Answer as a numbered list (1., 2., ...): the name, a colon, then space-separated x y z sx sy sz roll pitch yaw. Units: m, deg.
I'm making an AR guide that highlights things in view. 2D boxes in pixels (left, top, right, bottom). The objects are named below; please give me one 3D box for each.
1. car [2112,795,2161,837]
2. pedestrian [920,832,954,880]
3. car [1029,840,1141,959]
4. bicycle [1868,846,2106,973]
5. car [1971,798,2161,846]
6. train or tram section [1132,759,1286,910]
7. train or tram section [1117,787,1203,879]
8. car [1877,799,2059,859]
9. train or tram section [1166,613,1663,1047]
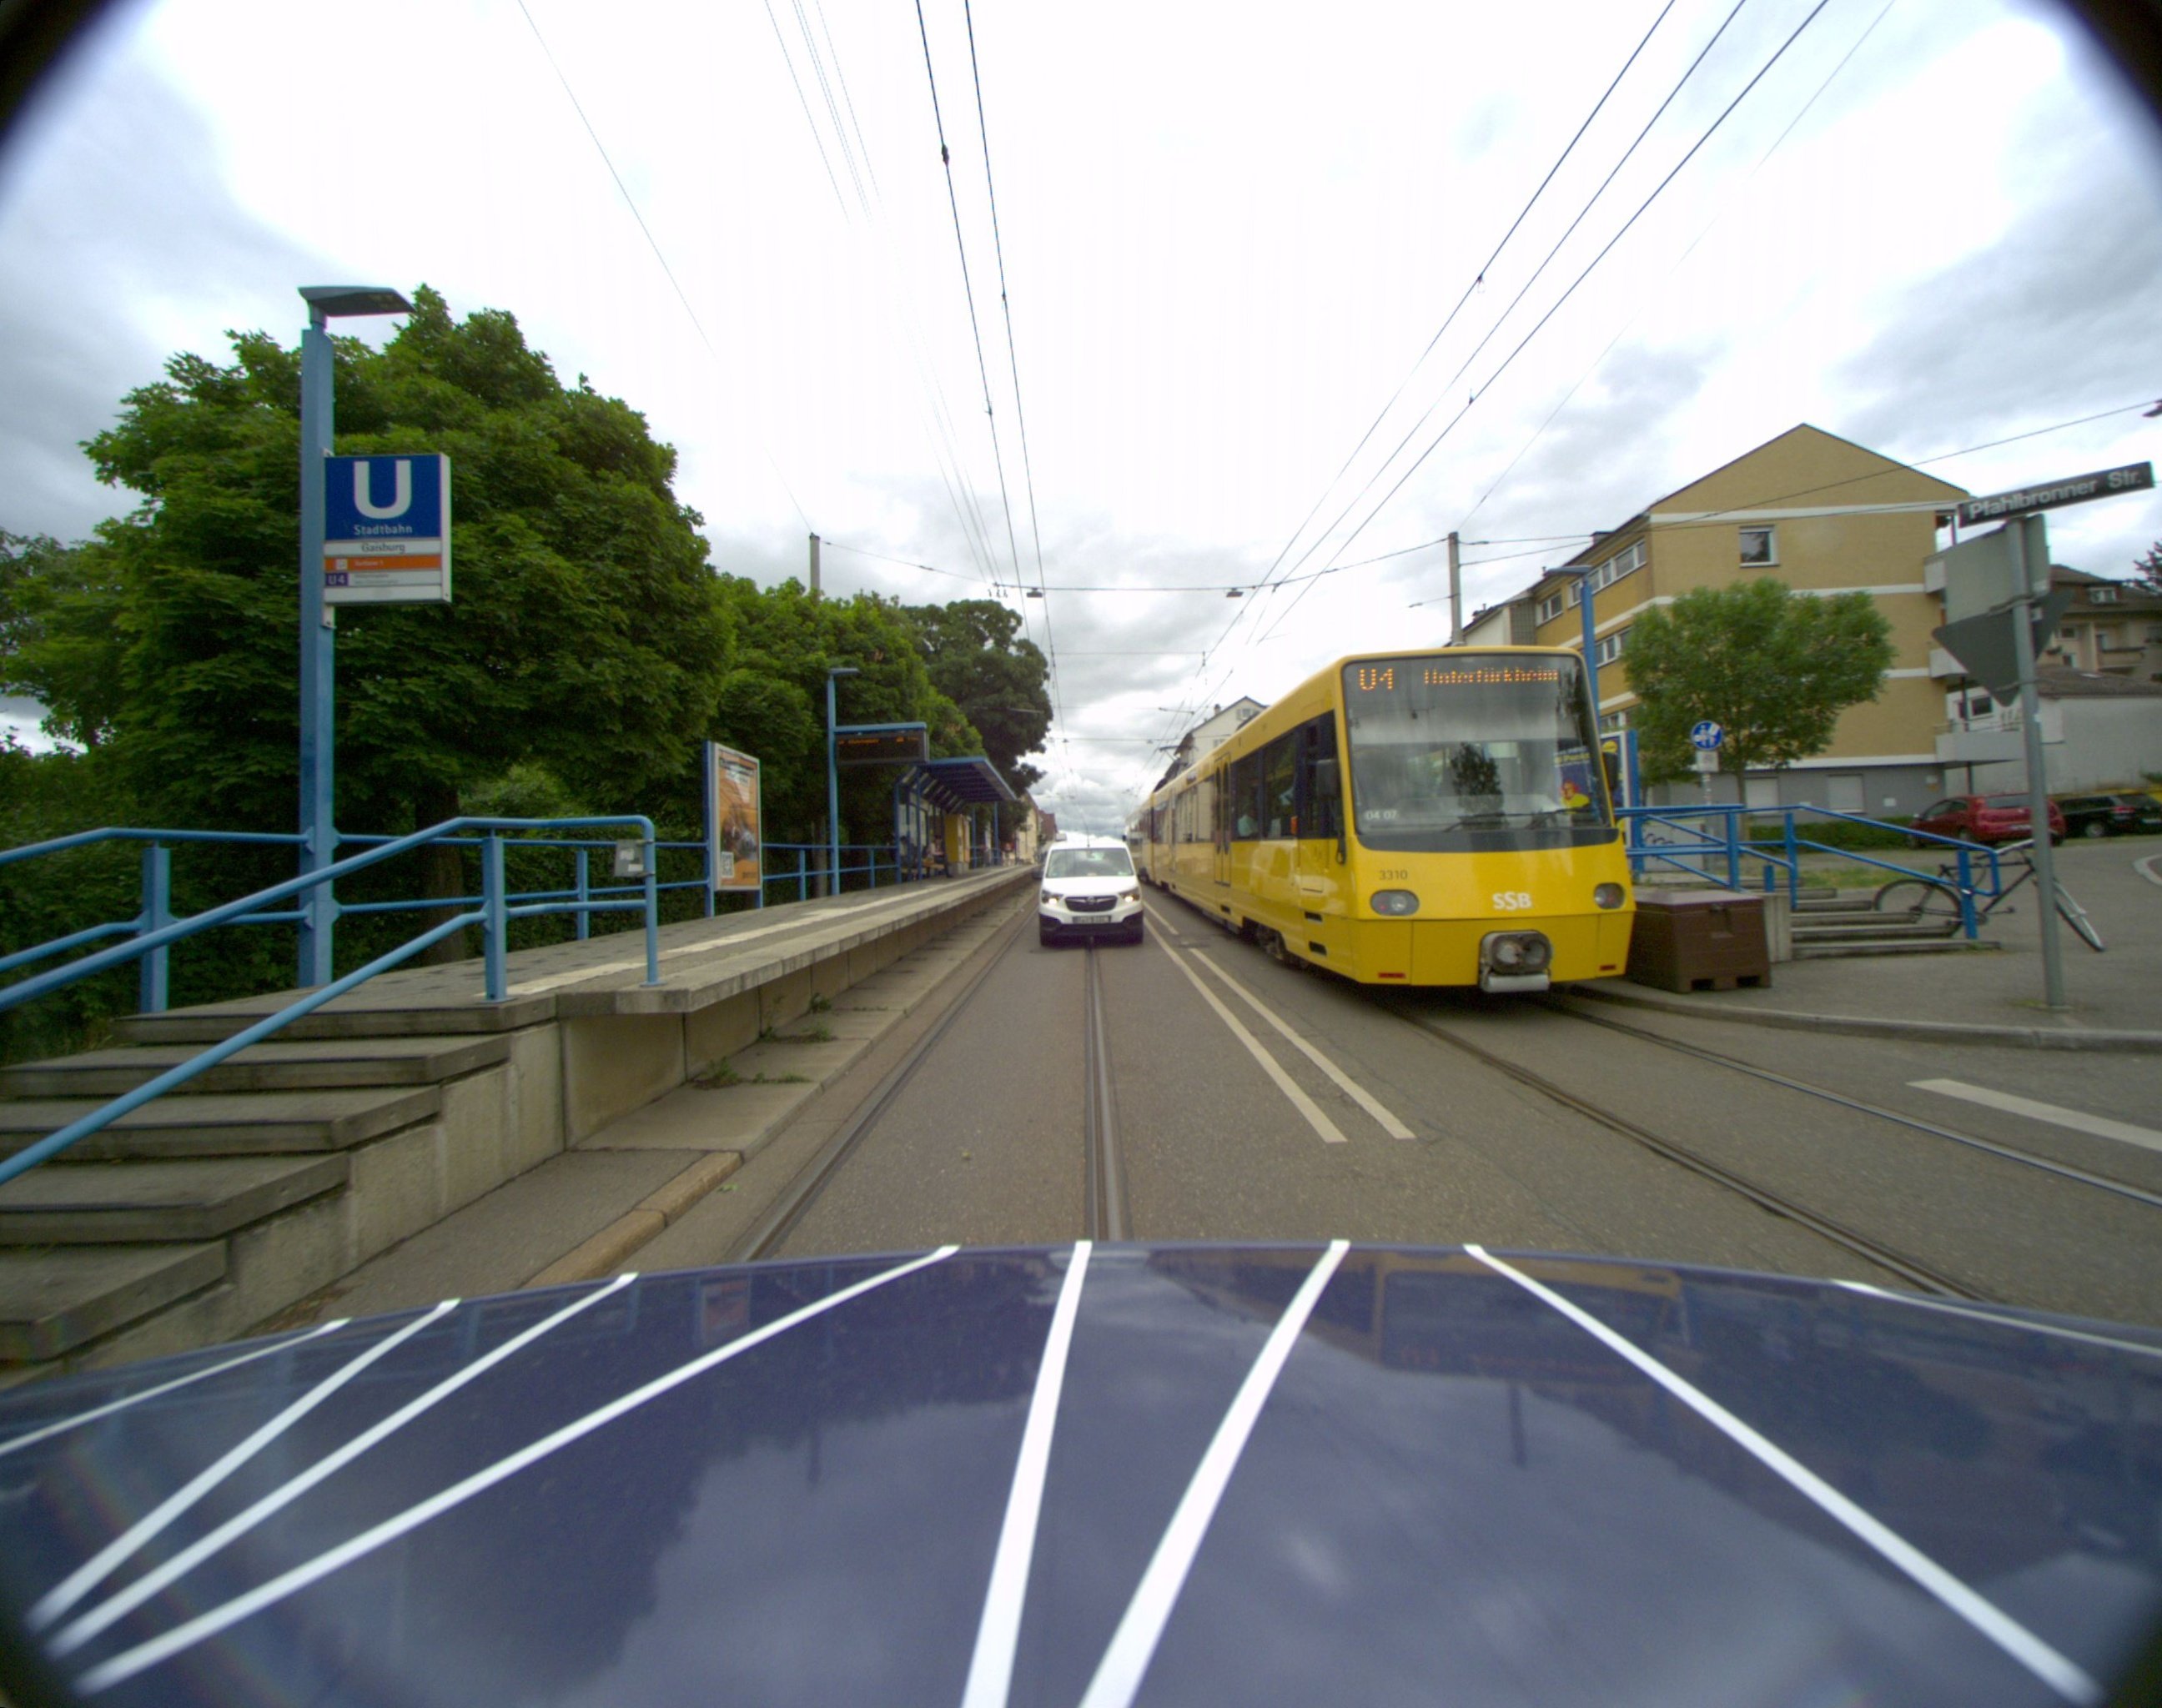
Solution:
1. car: 38.566 -1.349 25.996 1.839 1.455 4.004 -2 1 16
2. pedestrian: -4.061 0.054 21.429 0.781 1.307 0.657 -2 1 1
3. car: 0.119 0.721 14.413 1.730 1.850 4.421 -2 0 2
4. bicycle: 9.326 0.520 7.921 0.713 1.174 1.488 -1 1 1
5. car: 33.361 -1.029 25.855 1.839 1.455 4.002 -2 1 10
6. train or tram section: 3.551 -0.527 24.691 2.831 3.615 12.128 -2 1 0
7. train or tram section: 3.518 -0.896 36.894 2.758 3.615 12.128 -2 1 0
8. car: 24.480 -0.660 21.195 1.838 1.455 4.006 -2 1 25
9. train or tram section: 3.548 -0.248 12.574 2.857 3.615 12.128 -2 1 0
